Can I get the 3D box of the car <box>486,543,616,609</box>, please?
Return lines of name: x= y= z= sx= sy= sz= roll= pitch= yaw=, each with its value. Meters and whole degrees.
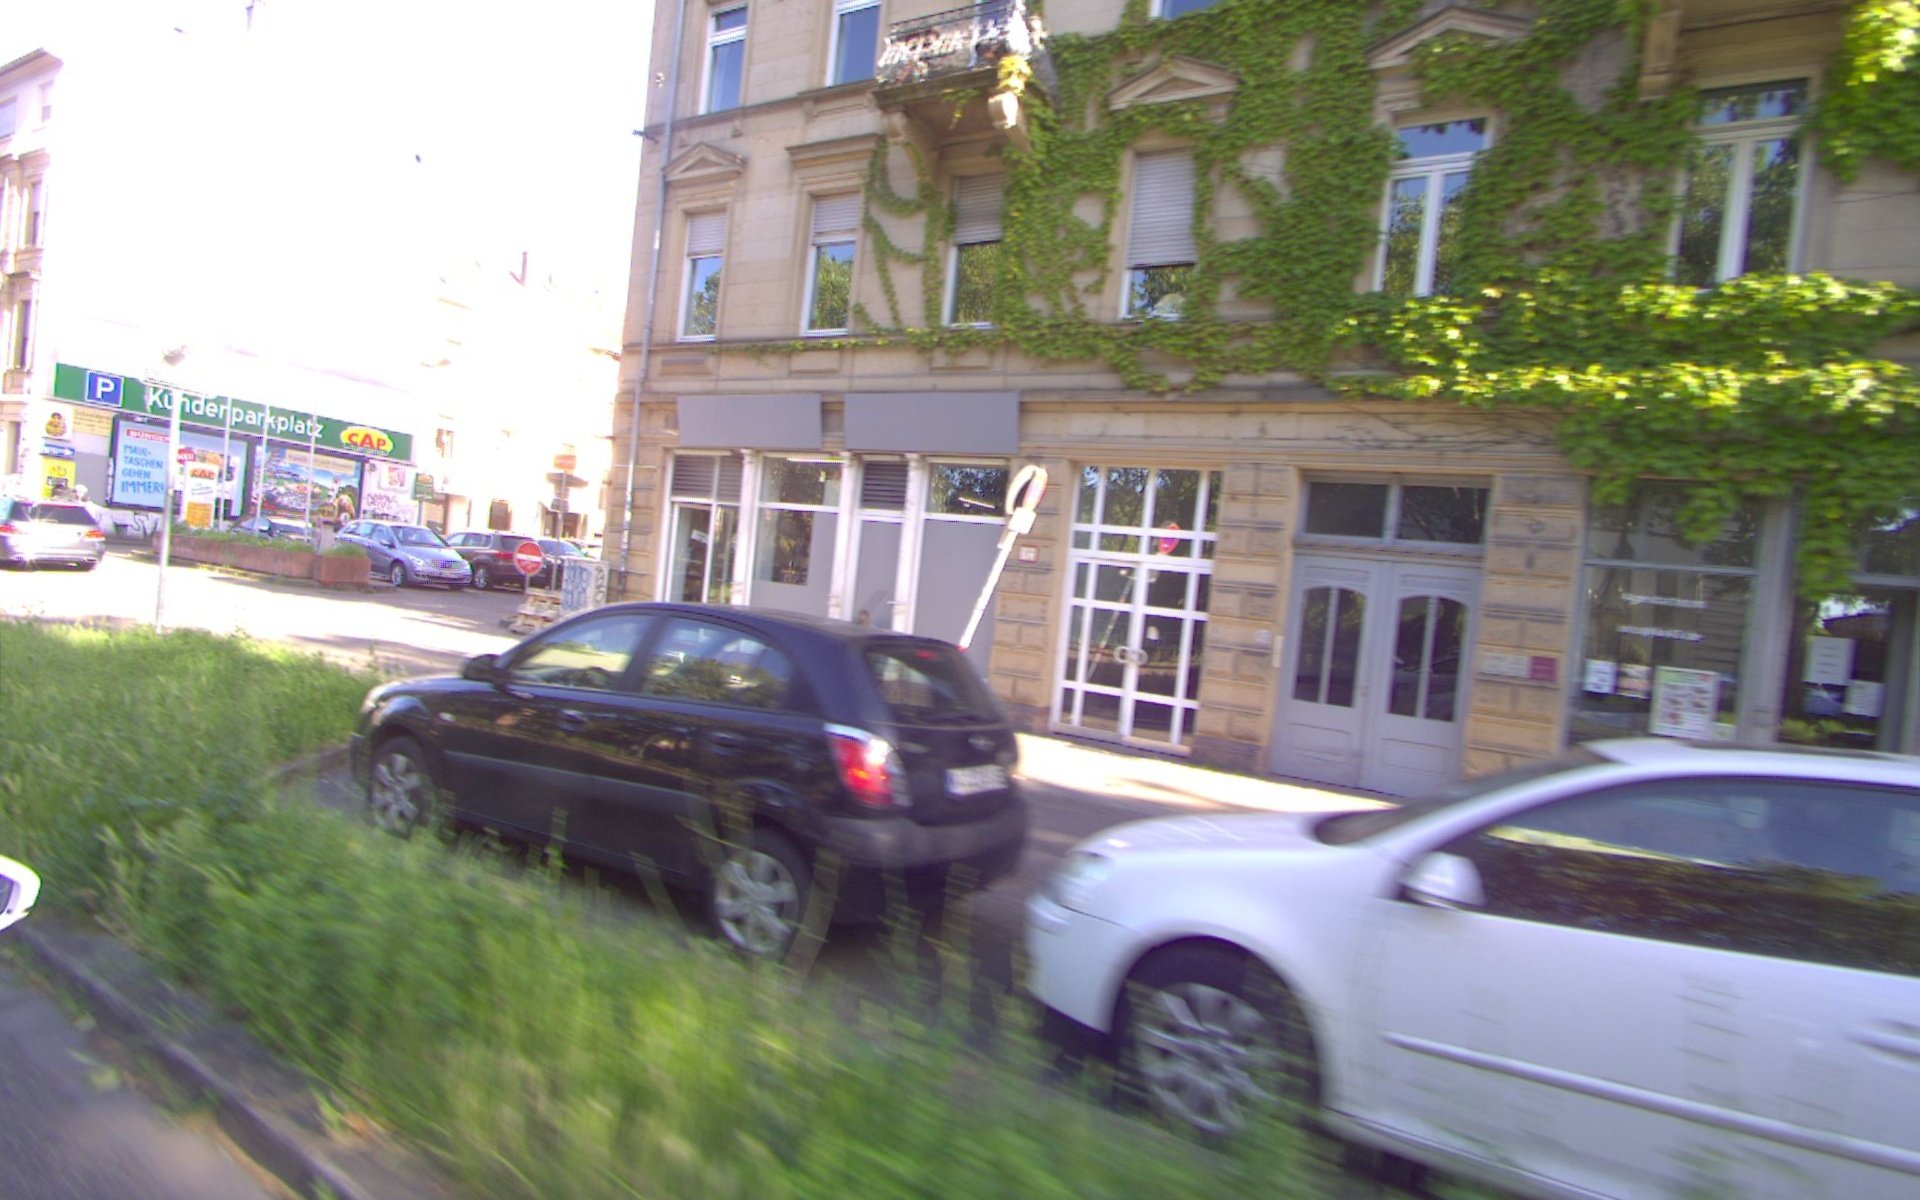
car: x=-12.597 y=-0.741 z=30.912 sx=3.871 sy=1.564 sz=1.543 roll=7 pitch=1 yaw=30

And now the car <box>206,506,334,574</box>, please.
car: x=-19.806 y=-1.726 z=28.876 sx=3.336 sy=1.504 sz=1.561 roll=7 pitch=1 yaw=28

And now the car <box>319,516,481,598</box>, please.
car: x=-14.695 y=-1.127 z=26.383 sx=3.930 sy=1.665 sz=1.748 roll=7 pitch=1 yaw=28

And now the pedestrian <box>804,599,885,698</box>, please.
pedestrian: x=-1.608 y=0.674 z=14.070 sx=0.701 sy=1.277 sz=0.716 roll=7 pitch=1 yaw=31

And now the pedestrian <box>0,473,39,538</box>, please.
pedestrian: x=-27.284 y=-2.724 z=29.049 sx=0.503 sy=1.778 sz=0.762 roll=7 pitch=1 yaw=11

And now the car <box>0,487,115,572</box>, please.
car: x=-20.175 y=-1.596 z=21.554 sx=4.656 sy=1.507 sz=1.832 roll=7 pitch=3 yaw=32

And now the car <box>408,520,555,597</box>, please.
car: x=-13.776 y=-1.203 z=28.943 sx=3.931 sy=1.714 sz=1.747 roll=7 pitch=1 yaw=29

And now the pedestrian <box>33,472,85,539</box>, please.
pedestrian: x=-26.844 y=-2.802 z=29.972 sx=0.734 sy=1.865 sz=0.762 roll=7 pitch=1 yaw=12

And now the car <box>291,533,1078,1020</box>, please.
car: x=-1.581 y=0.672 z=5.418 sx=3.932 sy=1.535 sz=1.645 roll=7 pitch=-2 yaw=30

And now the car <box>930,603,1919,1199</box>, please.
car: x=2.107 y=1.064 z=3.222 sx=3.932 sy=1.535 sz=1.743 roll=7 pitch=-2 yaw=30

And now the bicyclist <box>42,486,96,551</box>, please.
bicyclist: x=-21.705 y=-1.984 z=24.511 sx=1.162 sy=1.466 sz=0.676 roll=7 pitch=5 yaw=32

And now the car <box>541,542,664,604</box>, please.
car: x=-11.675 y=-0.901 z=32.790 sx=3.872 sy=1.564 sz=1.543 roll=7 pitch=1 yaw=30

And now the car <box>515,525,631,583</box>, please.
car: x=-14.720 y=-1.748 z=38.213 sx=4.309 sy=1.687 sz=1.756 roll=7 pitch=1 yaw=31
